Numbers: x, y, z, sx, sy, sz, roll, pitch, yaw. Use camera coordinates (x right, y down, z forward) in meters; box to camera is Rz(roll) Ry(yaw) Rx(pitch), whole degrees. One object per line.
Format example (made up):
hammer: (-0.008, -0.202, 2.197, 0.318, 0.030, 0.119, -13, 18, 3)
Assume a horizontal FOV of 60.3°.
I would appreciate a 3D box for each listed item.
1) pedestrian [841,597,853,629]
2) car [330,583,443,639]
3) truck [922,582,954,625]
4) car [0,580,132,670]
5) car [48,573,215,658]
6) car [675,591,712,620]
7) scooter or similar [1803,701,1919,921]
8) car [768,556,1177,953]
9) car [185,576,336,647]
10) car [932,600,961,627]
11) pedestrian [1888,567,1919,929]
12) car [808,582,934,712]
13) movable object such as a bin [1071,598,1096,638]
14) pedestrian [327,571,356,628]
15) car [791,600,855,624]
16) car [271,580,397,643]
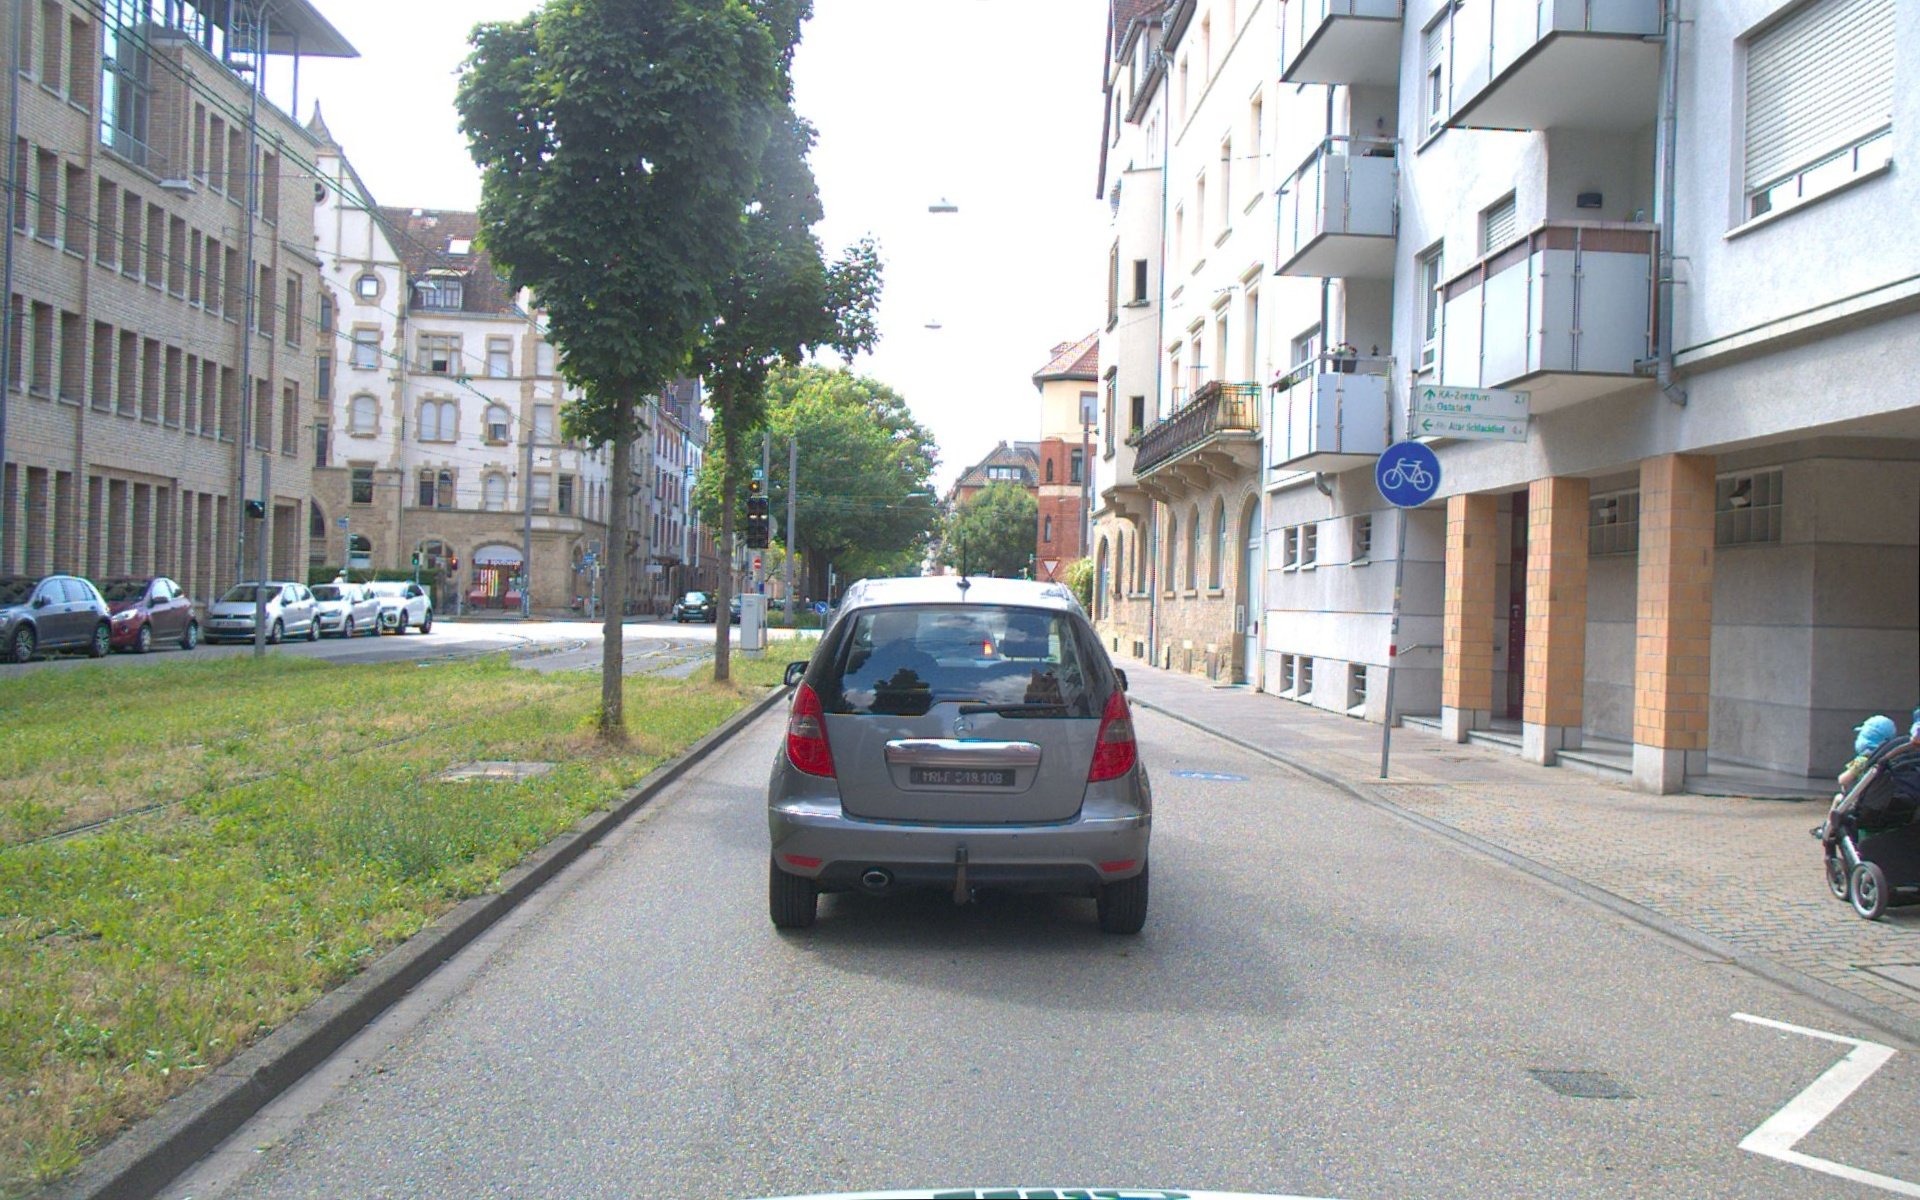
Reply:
pedestrian: (-6.398, 0.730, 93.588, 0.484, 1.755, 0.651, 2, 0, -14)
car: (-17.057, 0.310, 49.428, 1.894, 1.562, 4.257, 2, 0, -1)
truck: (-1.543, 0.274, 119.551, 2.079, 3.022, 4.001, 1, 0, 2)
car: (-16.241, 0.384, 28.415, 1.894, 1.420, 4.238, 2, 0, -1)
car: (-16.457, 0.290, 33.040, 1.550, 1.557, 3.549, 2, 0, -1)
car: (-15.803, 0.325, 98.087, 1.955, 1.646, 3.994, 1, 0, -7)
scooter or similar: (4.994, 1.083, 8.728, 0.580, 1.019, 0.905, -2, 0, -1)
car: (0.028, 0.655, 8.752, 1.687, 1.634, 3.676, 1, 0, -1)
car: (-16.642, 0.269, 39.593, 1.813, 1.557, 4.209, 2, 0, -1)
car: (-0.855, 0.889, 106.602, 1.716, 1.661, 3.500, 2, 0, 2)
pedestrian: (4.980, 0.715, 7.836, 0.608, 1.769, 0.877, -2, 0, -1)
car: (-1.238, 0.650, 24.310, 1.687, 1.736, 3.676, 1, 0, -1)
movable object such as a bin: (4.649, 0.675, 62.348, 0.701, 1.497, 0.980, 1, 0, -10)
pedestrian: (-20.359, -0.022, 54.413, 0.751, 1.827, 0.952, 2, -1, -27)
car: (-8.375, 0.728, 101.091, 1.957, 1.362, 3.941, 2, 0, -41)
car: (-16.939, 0.299, 44.939, 1.894, 1.557, 4.013, 2, 0, -1)
